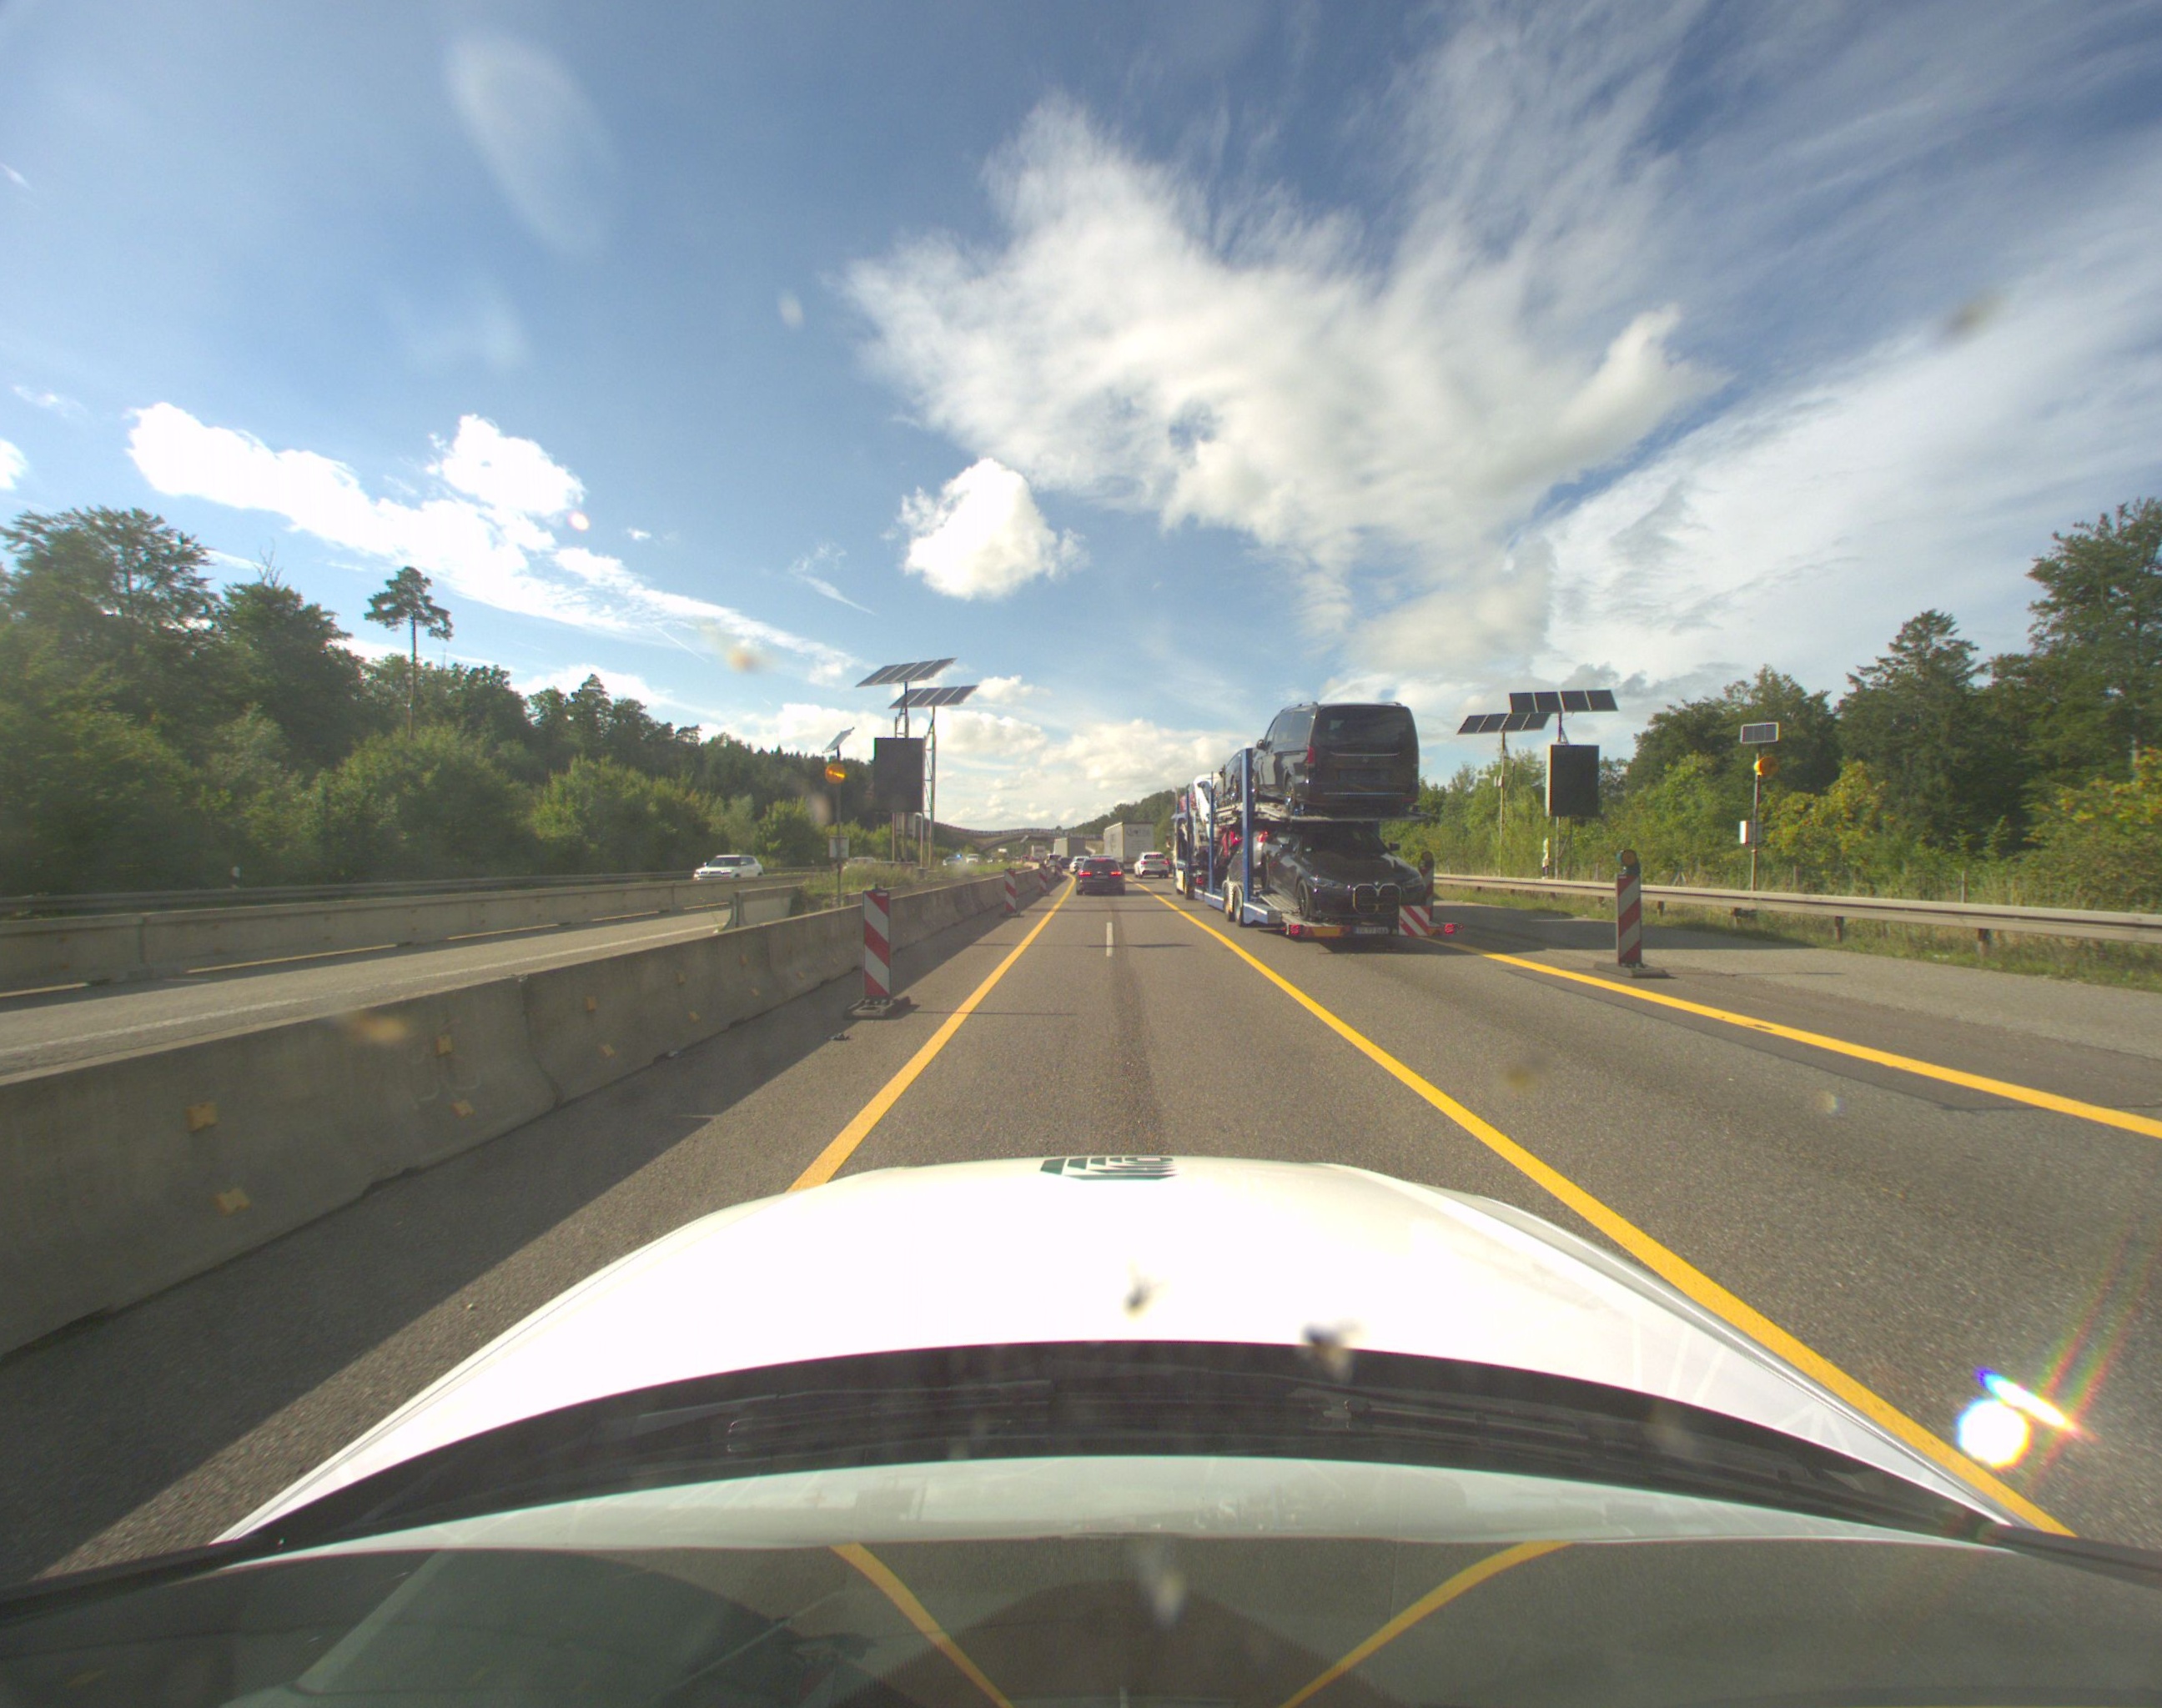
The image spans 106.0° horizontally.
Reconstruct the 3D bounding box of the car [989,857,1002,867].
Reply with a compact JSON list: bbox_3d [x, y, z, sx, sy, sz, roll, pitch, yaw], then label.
[{"bbox_3d":[-15.499,1.445,147.861,1.962,1.602,4.947,0,0,0],"label":"car"}]

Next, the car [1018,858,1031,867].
[{"bbox_3d":[-9.861,1.438,141.343,1.779,1.602,4.003,0,0,-11],"label":"car"}]

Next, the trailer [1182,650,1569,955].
[{"bbox_3d":[5.090,-0.689,19.412,3.712,4.196,16.232,0,0,1],"label":"trailer"}]

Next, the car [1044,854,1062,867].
[{"bbox_3d":[-3.490,0.812,101.133,1.888,1.643,4.009,0,0,-6],"label":"car"}]

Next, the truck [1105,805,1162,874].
[{"bbox_3d":[4.329,-1.121,71.414,3.667,5.353,16.192,0,0,-1],"label":"truck"}]

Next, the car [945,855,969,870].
[{"bbox_3d":[-13.092,0.883,86.018,1.772,1.602,4.676,0,0,0],"label":"car"}]

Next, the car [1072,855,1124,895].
[{"bbox_3d":[0.727,0.783,31.743,1.882,1.446,4.003,0,0,3],"label":"car"}]

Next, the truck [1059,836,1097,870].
[{"bbox_3d":[-0.517,-0.092,116.059,4.314,4.600,11.102,0,0,-6],"label":"truck"}]

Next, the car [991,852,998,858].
[{"bbox_3d":[-26.147,0.210,245.685,1.775,1.866,3.998,0,0,-1],"label":"car"}]

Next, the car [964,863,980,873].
[{"bbox_3d":[-18.123,2.268,135.875,1.962,1.602,4.947,0,0,0],"label":"car"}]

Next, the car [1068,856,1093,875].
[{"bbox_3d":[-0.050,0.918,66.744,1.886,1.446,3.996,0,0,-2],"label":"car"}]

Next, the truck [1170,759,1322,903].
[{"bbox_3d":[5.282,-0.659,27.879,3.747,4.196,7.953,0,0,1],"label":"truck"}]

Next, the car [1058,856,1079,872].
[{"bbox_3d":[-1.397,1.054,88.049,1.889,1.643,4.007,0,0,-7],"label":"car"}]

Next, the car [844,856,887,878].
[{"bbox_3d":[-16.240,0.930,61.671,1.770,1.602,4.680,0,0,3],"label":"car"}]

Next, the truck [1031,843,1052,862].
[{"bbox_3d":[-8.508,-0.352,172.984,3.650,3.928,11.040,0,0,-7],"label":"truck"}]

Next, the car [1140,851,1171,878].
[{"bbox_3d":[4.699,0.642,52.025,1.882,1.643,4.022,0,0,4],"label":"car"}]

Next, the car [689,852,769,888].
[{"bbox_3d":[-16.216,0.708,37.708,1.770,1.602,4.021,0,0,3],"label":"car"}]
